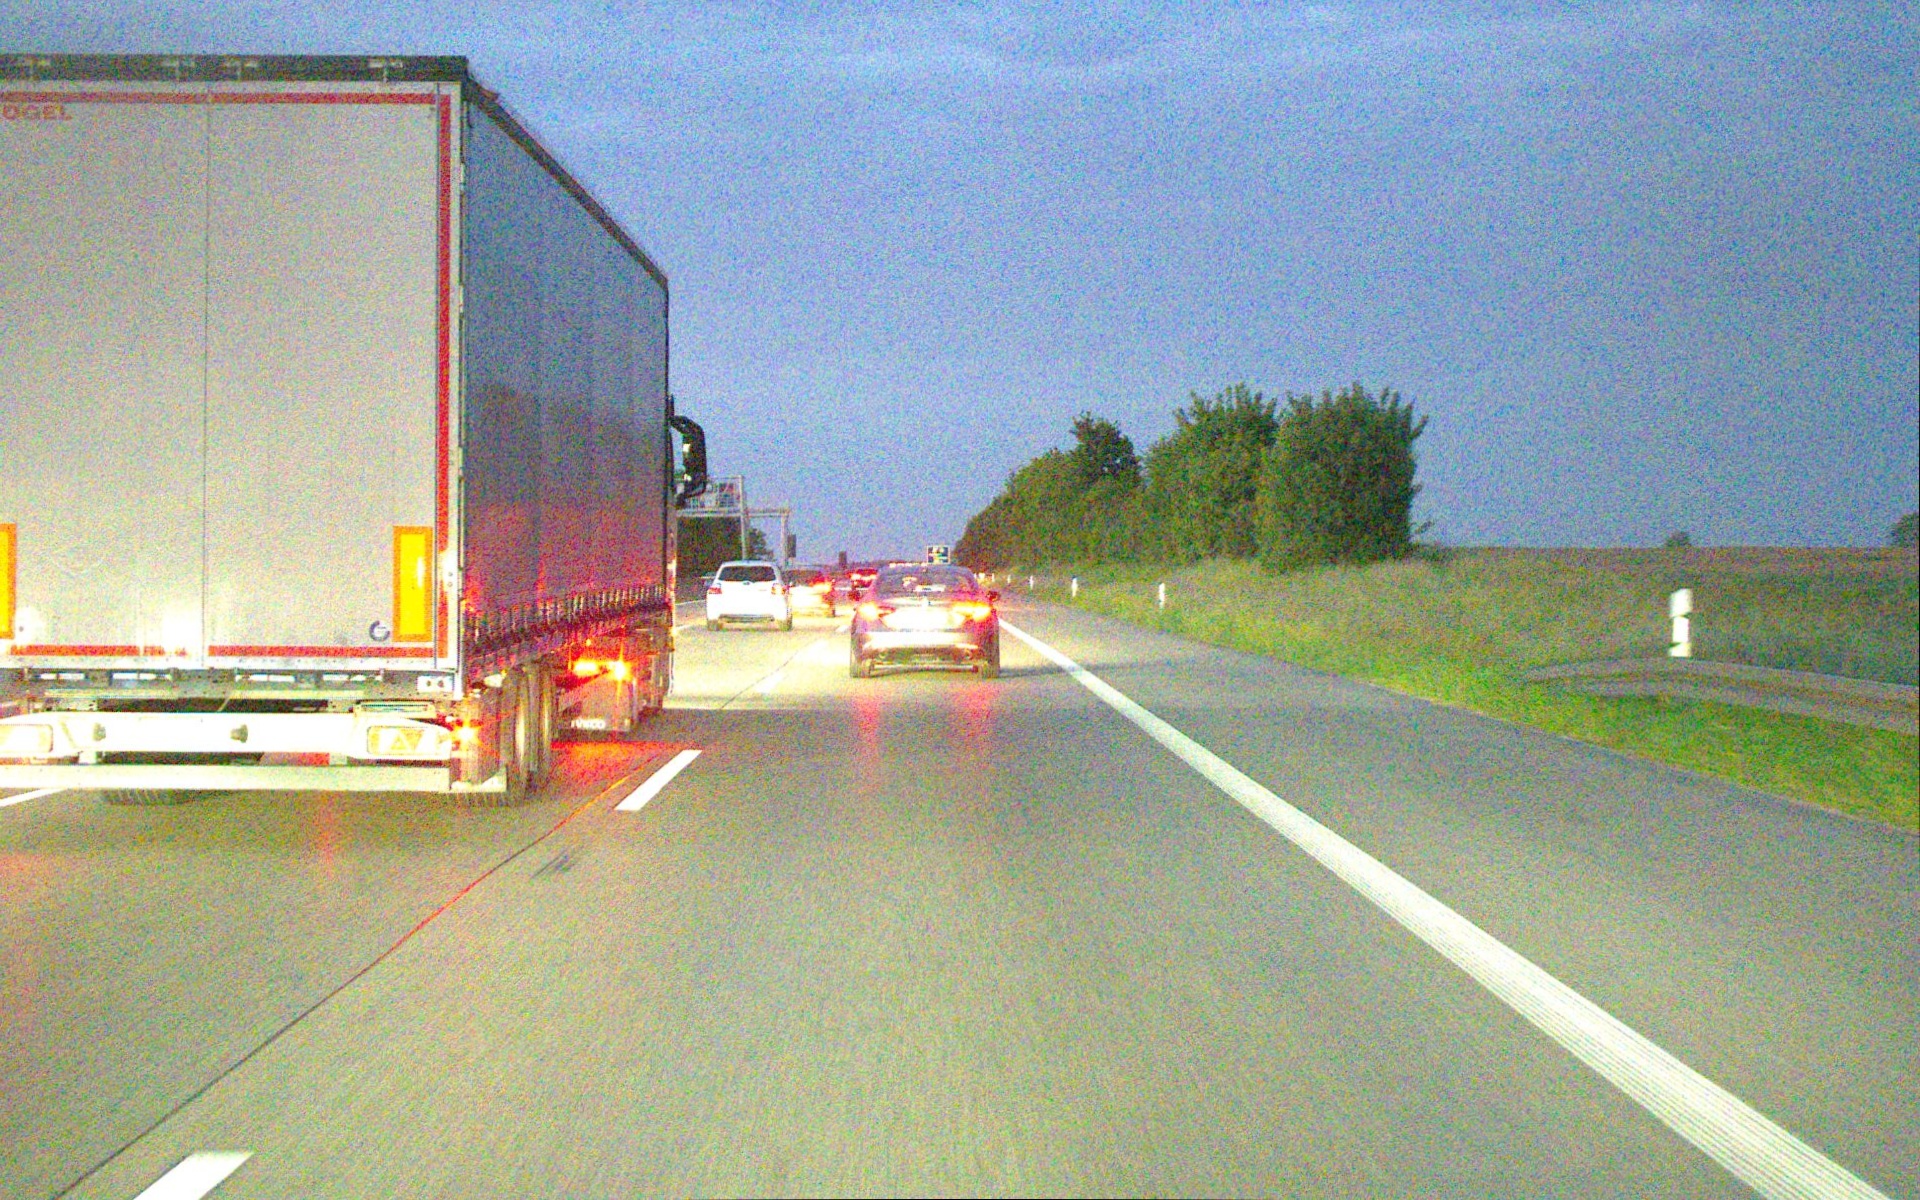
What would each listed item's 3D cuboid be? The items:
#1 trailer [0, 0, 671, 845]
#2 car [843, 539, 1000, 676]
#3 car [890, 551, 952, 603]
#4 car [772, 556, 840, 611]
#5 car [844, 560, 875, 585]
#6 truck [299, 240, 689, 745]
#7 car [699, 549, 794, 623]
[{"bbox_3d":[-3.873,-0.869,23.843,2.794,4.071,14.526,0,0,-1],"label":"trailer"},{"bbox_3d":[-0.488,0.085,43.950,1.880,1.637,4.000,1,0,-1],"label":"car"},{"bbox_3d":[-1.235,-0.709,107.220,1.880,1.547,4.000,1,0,-1],"label":"car"},{"bbox_3d":[-4.256,-0.451,95.804,1.722,1.466,4.726,1,0,-1],"label":"car"},{"bbox_3d":[-6.281,-1.725,216.148,1.880,1.547,4.000,1,0,-1],"label":"car"},{"bbox_3d":[-4.004,-0.874,30.819,2.777,4.079,6.103,0,0,-1],"label":"truck"},{"bbox_3d":[-4.592,-0.303,74.485,1.744,1.520,4.414,1,0,0],"label":"car"}]
